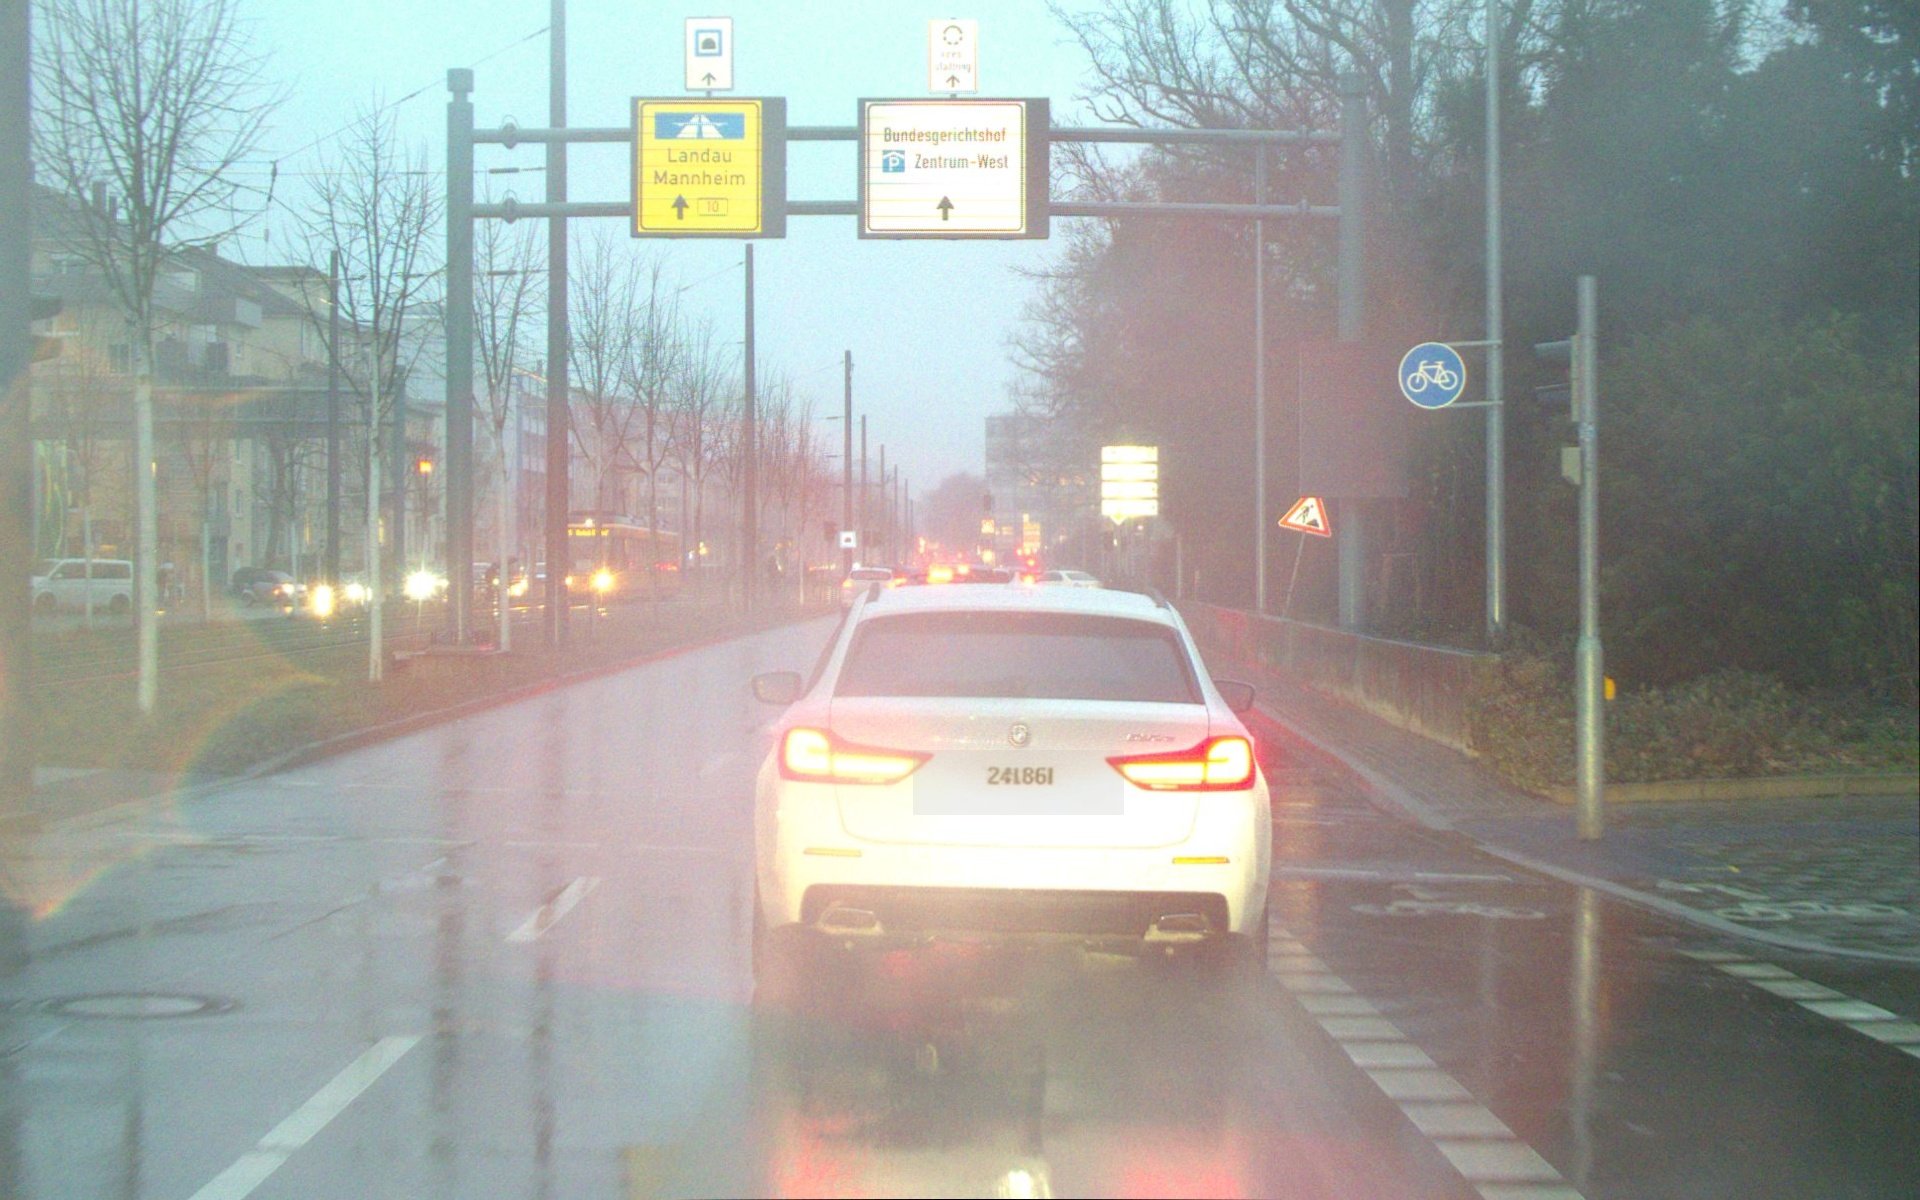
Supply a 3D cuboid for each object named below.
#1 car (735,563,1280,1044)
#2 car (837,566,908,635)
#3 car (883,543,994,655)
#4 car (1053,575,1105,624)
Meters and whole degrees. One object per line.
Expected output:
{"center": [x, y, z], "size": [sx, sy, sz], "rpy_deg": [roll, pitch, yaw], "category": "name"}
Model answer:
{"center": [0.035, 0.656, 13.457], "size": [1.759, 1.547, 4.252], "rpy_deg": [1, 0, -3], "category": "car"}
{"center": [-2.619, 0.005, 104.160], "size": [1.993, 2.007, 4.000], "rpy_deg": [2, 0, 0], "category": "car"}
{"center": [-0.391, -0.028, 64.997], "size": [1.993, 2.007, 4.000], "rpy_deg": [2, 0, 0], "category": "car"}
{"center": [5.057, -0.036, 146.531], "size": [1.993, 2.007, 4.000], "rpy_deg": [2, 0, 0], "category": "car"}
